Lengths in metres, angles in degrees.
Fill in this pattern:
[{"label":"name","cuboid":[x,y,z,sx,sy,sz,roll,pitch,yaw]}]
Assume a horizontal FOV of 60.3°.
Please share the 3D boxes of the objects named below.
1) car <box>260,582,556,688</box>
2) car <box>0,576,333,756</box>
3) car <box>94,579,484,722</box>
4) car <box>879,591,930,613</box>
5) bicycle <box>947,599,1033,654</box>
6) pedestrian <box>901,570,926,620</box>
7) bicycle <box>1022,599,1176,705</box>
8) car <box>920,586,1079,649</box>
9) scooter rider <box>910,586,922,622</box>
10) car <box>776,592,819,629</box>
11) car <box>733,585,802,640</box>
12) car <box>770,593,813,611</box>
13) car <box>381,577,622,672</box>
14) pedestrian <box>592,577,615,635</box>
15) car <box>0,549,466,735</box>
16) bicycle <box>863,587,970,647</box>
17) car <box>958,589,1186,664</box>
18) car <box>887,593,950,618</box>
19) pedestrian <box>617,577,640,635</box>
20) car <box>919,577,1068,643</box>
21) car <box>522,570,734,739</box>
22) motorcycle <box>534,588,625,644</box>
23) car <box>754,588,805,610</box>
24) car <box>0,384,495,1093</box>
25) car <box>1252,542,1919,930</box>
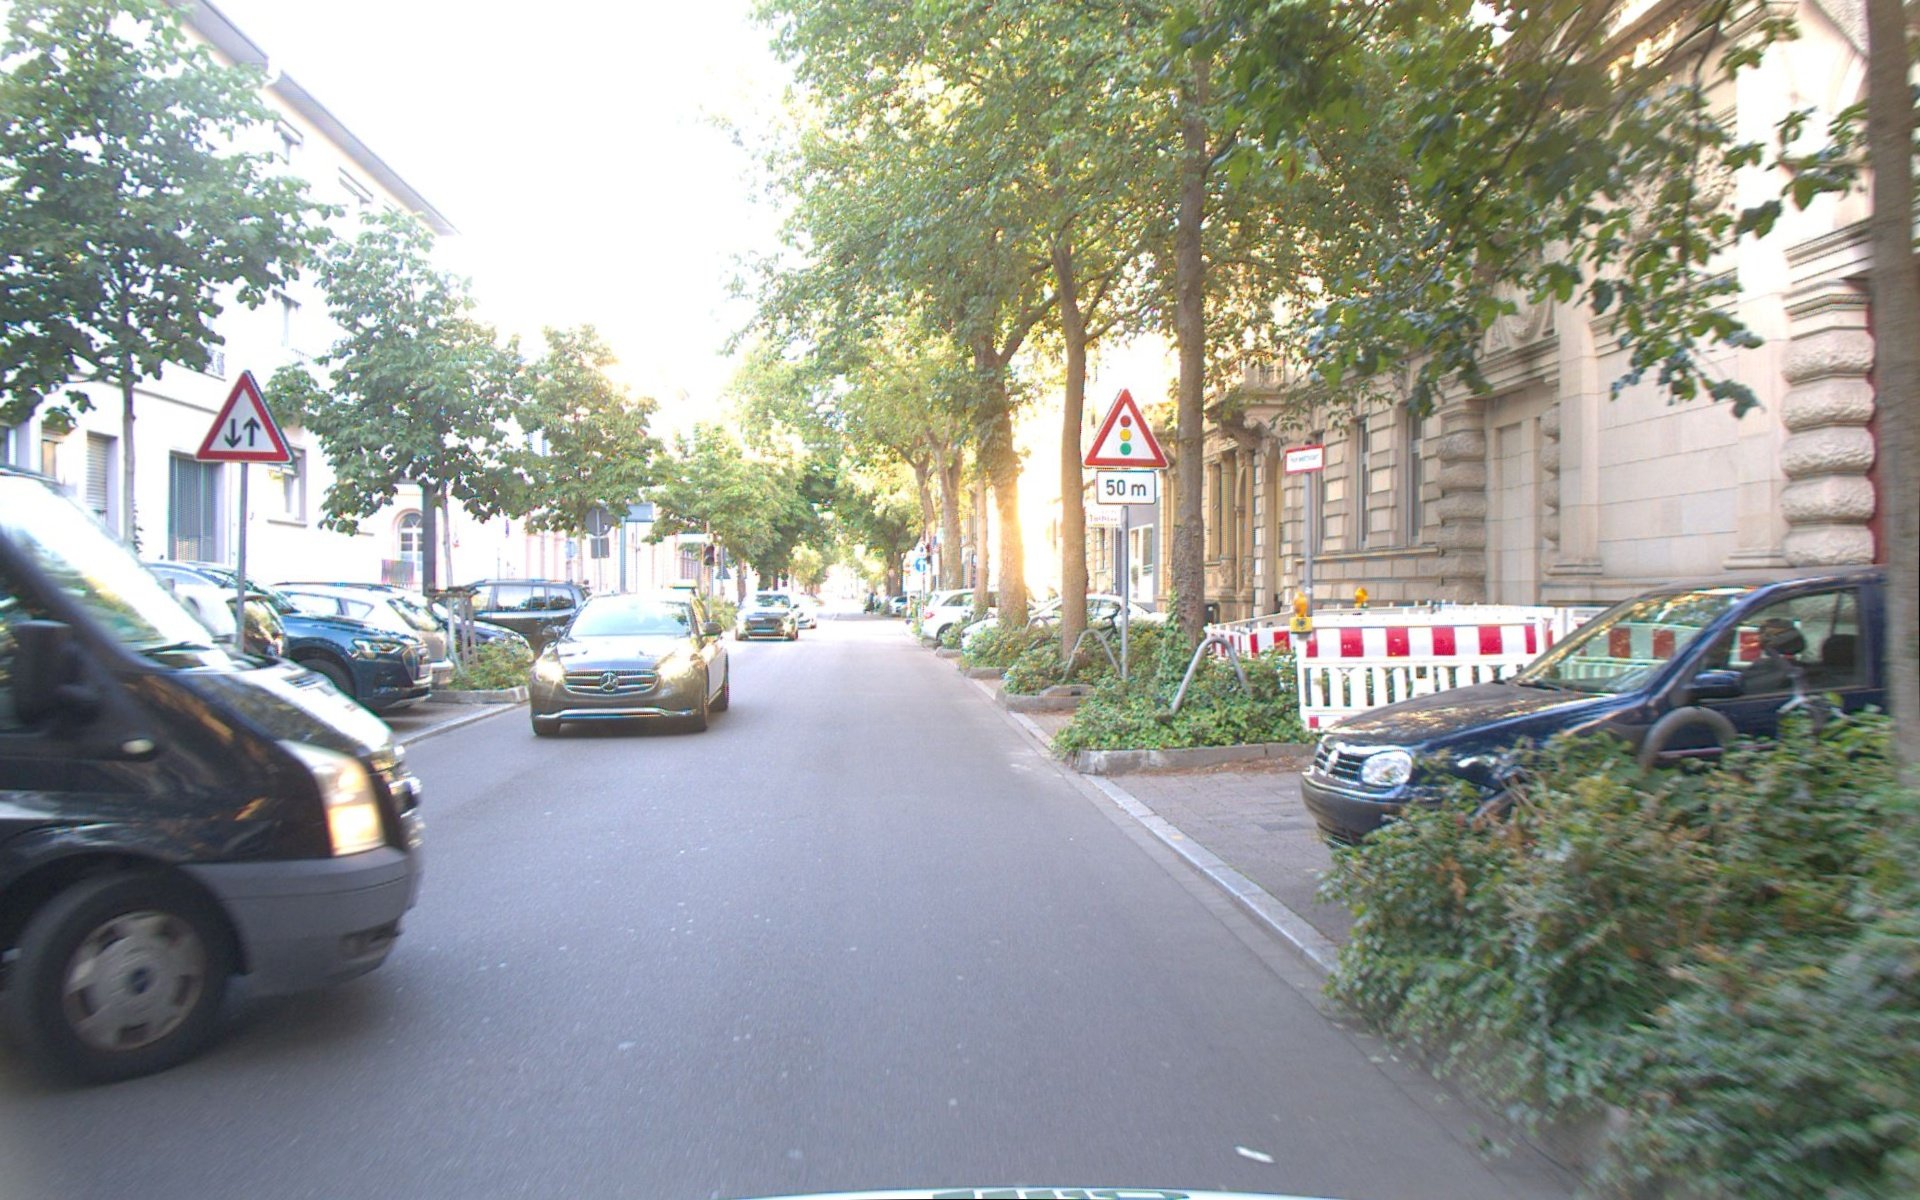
[{"label":"car","cuboid":[-8.522,0.524,25.793,3.994,1.465,1.754,2,0,-3]},{"label":"car","cuboid":[-7.946,0.551,15.051,3.769,1.476,1.853,1,1,-4]},{"label":"car","cuboid":[-8.044,0.584,20.098,3.947,1.520,1.780,2,0,-1]},{"label":"car","cuboid":[-4.385,0.157,131.172,3.936,1.651,1.779,-1,0,-5]},{"label":"bicycle","cuboid":[0.720,0.632,39.470,1.987,1.225,0.486,-2,0,-17]},{"label":"pedestrian","cuboid":[-2.069,-0.230,73.443,1.022,2.184,1.063,1,-1,-4]},{"label":"bicycle","cuboid":[1.886,0.708,22.546,2.006,1.384,0.508,1,0,-6]},{"label":"car","cuboid":[1.028,0.442,44.106,4.138,1.587,1.970,-1,1,-1]},{"label":"scooter rider","cuboid":[-2.195,0.207,82.854,0.484,1.823,0.875,0,-1,5]},{"label":"car","cuboid":[-7.216,0.448,73.849,1.840,1.576,4.271,-1,0,-5]},{"label":"car","cuboid":[-5.767,0.349,49.942,1.840,1.576,4.272,-1,0,-4]},{"label":"car","cuboid":[-20.284,0.254,199.283,4.963,2.119,2.262,0,0,-3]},{"label":"car","cuboid":[-8.587,0.447,31.249,4.011,1.660,1.935,1,0,-3]},{"label":"pedestrian","cuboid":[-11.643,0.191,53.991,0.542,1.883,0.612,0,0,11]},{"label":"car","cuboid":[-7.882,0.423,17.696,4.574,1.796,2.155,1,0,-5]},{"label":"bicycle","cuboid":[-1.270,0.489,48.303,3.055,1.692,0.657,1,0,-8]},{"label":"car","cuboid":[2.244,0.520,33.896,4.491,1.462,1.924,0,0,-2]},{"label":"car","cuboid":[-2.798,0.373,110.147,4.110,1.506,1.851,-2,0,-4]},{"label":"pedestrian","cuboid":[-10.793,0.194,53.897,0.542,1.883,0.612,0,0,10]},{"label":"car","cuboid":[1.012,0.305,51.731,4.453,1.948,1.948,-1,0,-6]},{"label":"car","cuboid":[-3.644,0.537,18.930,1.840,1.669,4.641,-1,0,-5]},{"label":"motorcycle","cuboid":[-9.839,0.415,42.770,2.103,1.444,0.968,-1,0,18]},{"label":"car","cuboid":[-17.773,-0.070,163.076,4.965,2.119,2.261,0,0,-5]},{"label":"car","cuboid":[-4.120,0.414,5.411,4.913,2.025,2.179,-2,1,-18]},{"label":"car","cuboid":[3.691,0.519,7.960,4.141,1.507,1.853,-3,0,-4]}]
